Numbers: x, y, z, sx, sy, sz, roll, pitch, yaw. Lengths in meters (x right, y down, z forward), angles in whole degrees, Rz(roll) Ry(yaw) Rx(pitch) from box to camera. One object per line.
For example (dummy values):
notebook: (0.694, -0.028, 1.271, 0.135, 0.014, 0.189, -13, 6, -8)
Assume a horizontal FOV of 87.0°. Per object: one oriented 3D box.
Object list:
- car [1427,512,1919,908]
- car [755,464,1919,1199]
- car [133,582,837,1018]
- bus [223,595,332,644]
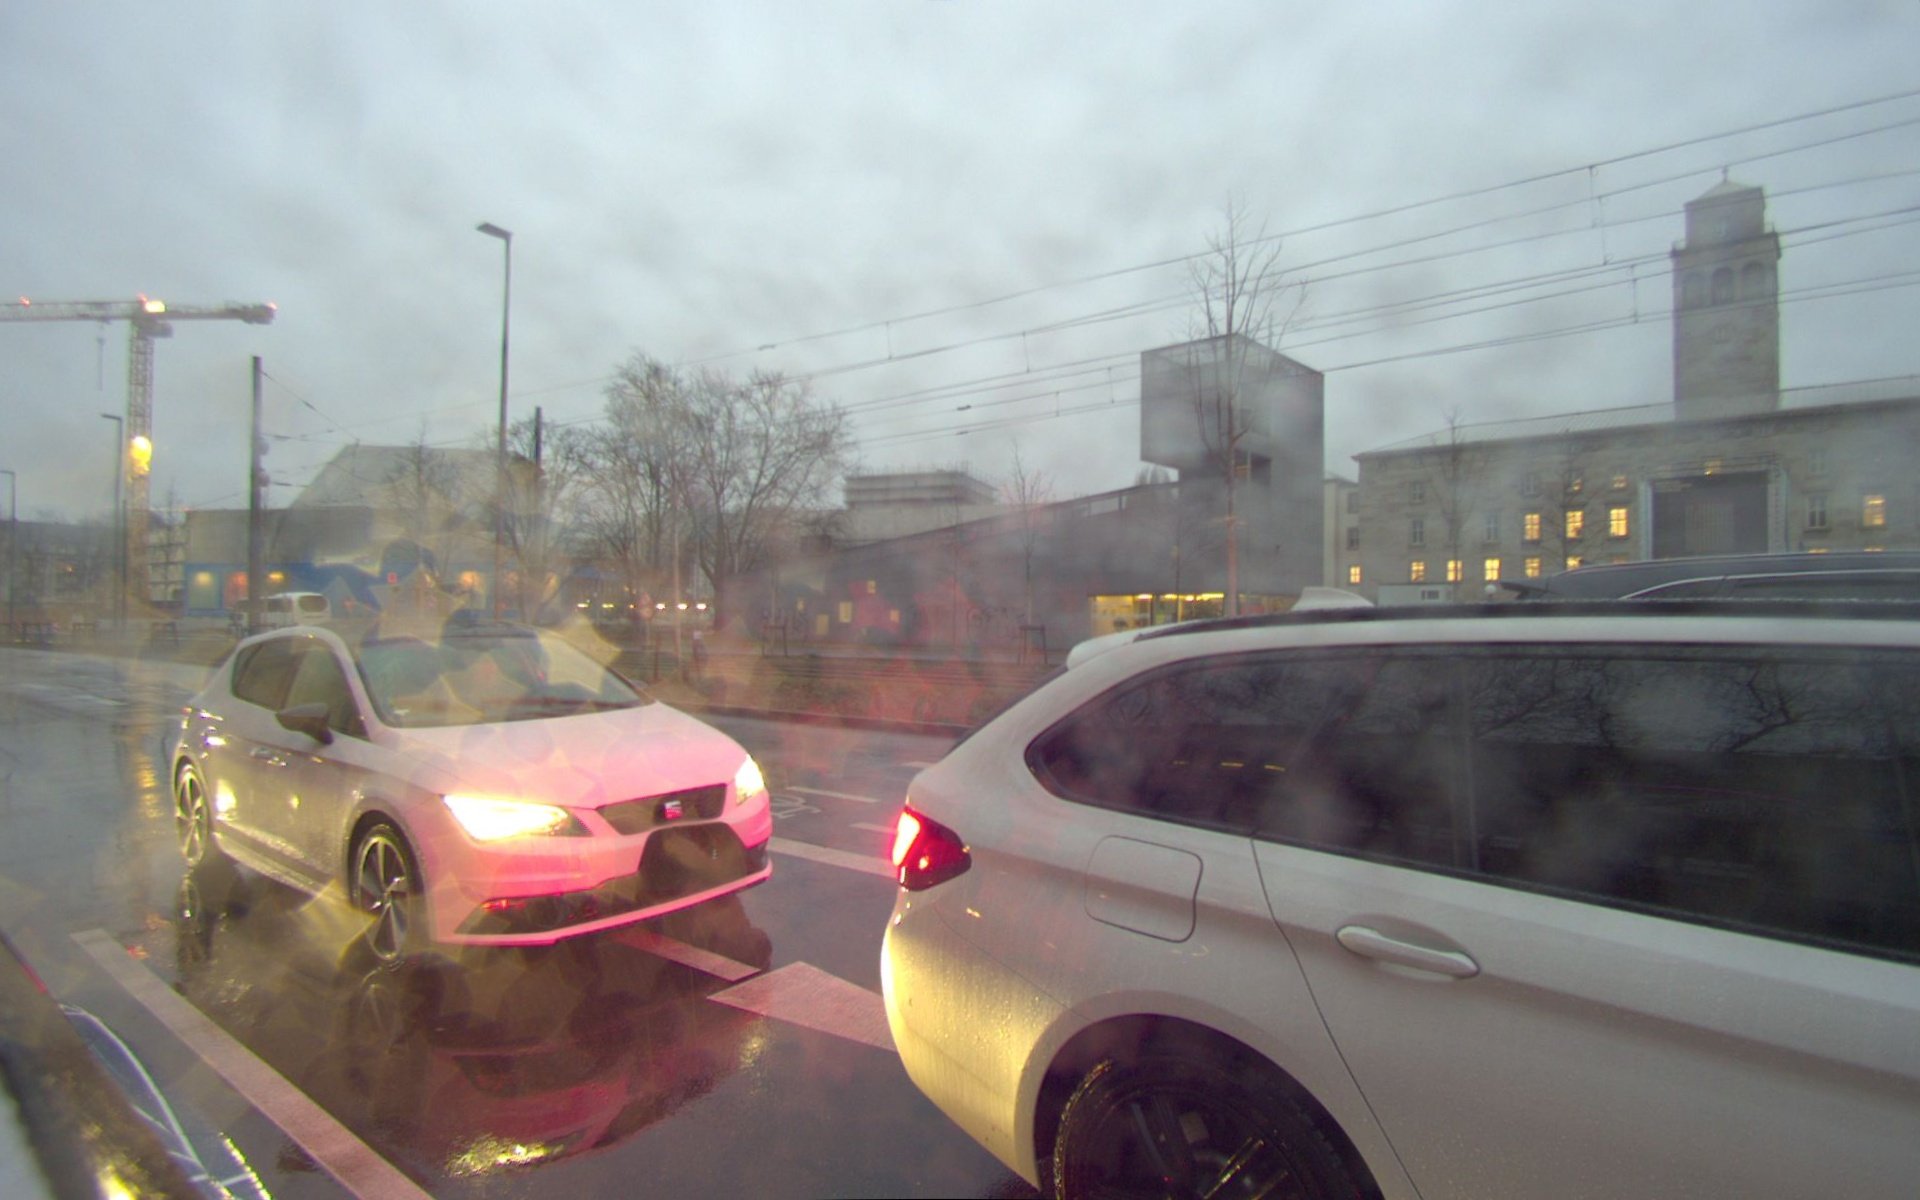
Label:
car: (4.984, 0.499, 5.004, 4.605, 1.756, 1.686, -1, -2, 38)
car: (1.962, 0.620, 1.732, 4.919, 1.532, 1.890, -1, -2, 40)
car: (-2.749, 0.719, 5.439, 4.124, 1.486, 1.757, -1, -2, 38)
bus: (-53.336, 1.554, 78.949, 12.277, 3.605, 2.783, -1, -2, 35)
